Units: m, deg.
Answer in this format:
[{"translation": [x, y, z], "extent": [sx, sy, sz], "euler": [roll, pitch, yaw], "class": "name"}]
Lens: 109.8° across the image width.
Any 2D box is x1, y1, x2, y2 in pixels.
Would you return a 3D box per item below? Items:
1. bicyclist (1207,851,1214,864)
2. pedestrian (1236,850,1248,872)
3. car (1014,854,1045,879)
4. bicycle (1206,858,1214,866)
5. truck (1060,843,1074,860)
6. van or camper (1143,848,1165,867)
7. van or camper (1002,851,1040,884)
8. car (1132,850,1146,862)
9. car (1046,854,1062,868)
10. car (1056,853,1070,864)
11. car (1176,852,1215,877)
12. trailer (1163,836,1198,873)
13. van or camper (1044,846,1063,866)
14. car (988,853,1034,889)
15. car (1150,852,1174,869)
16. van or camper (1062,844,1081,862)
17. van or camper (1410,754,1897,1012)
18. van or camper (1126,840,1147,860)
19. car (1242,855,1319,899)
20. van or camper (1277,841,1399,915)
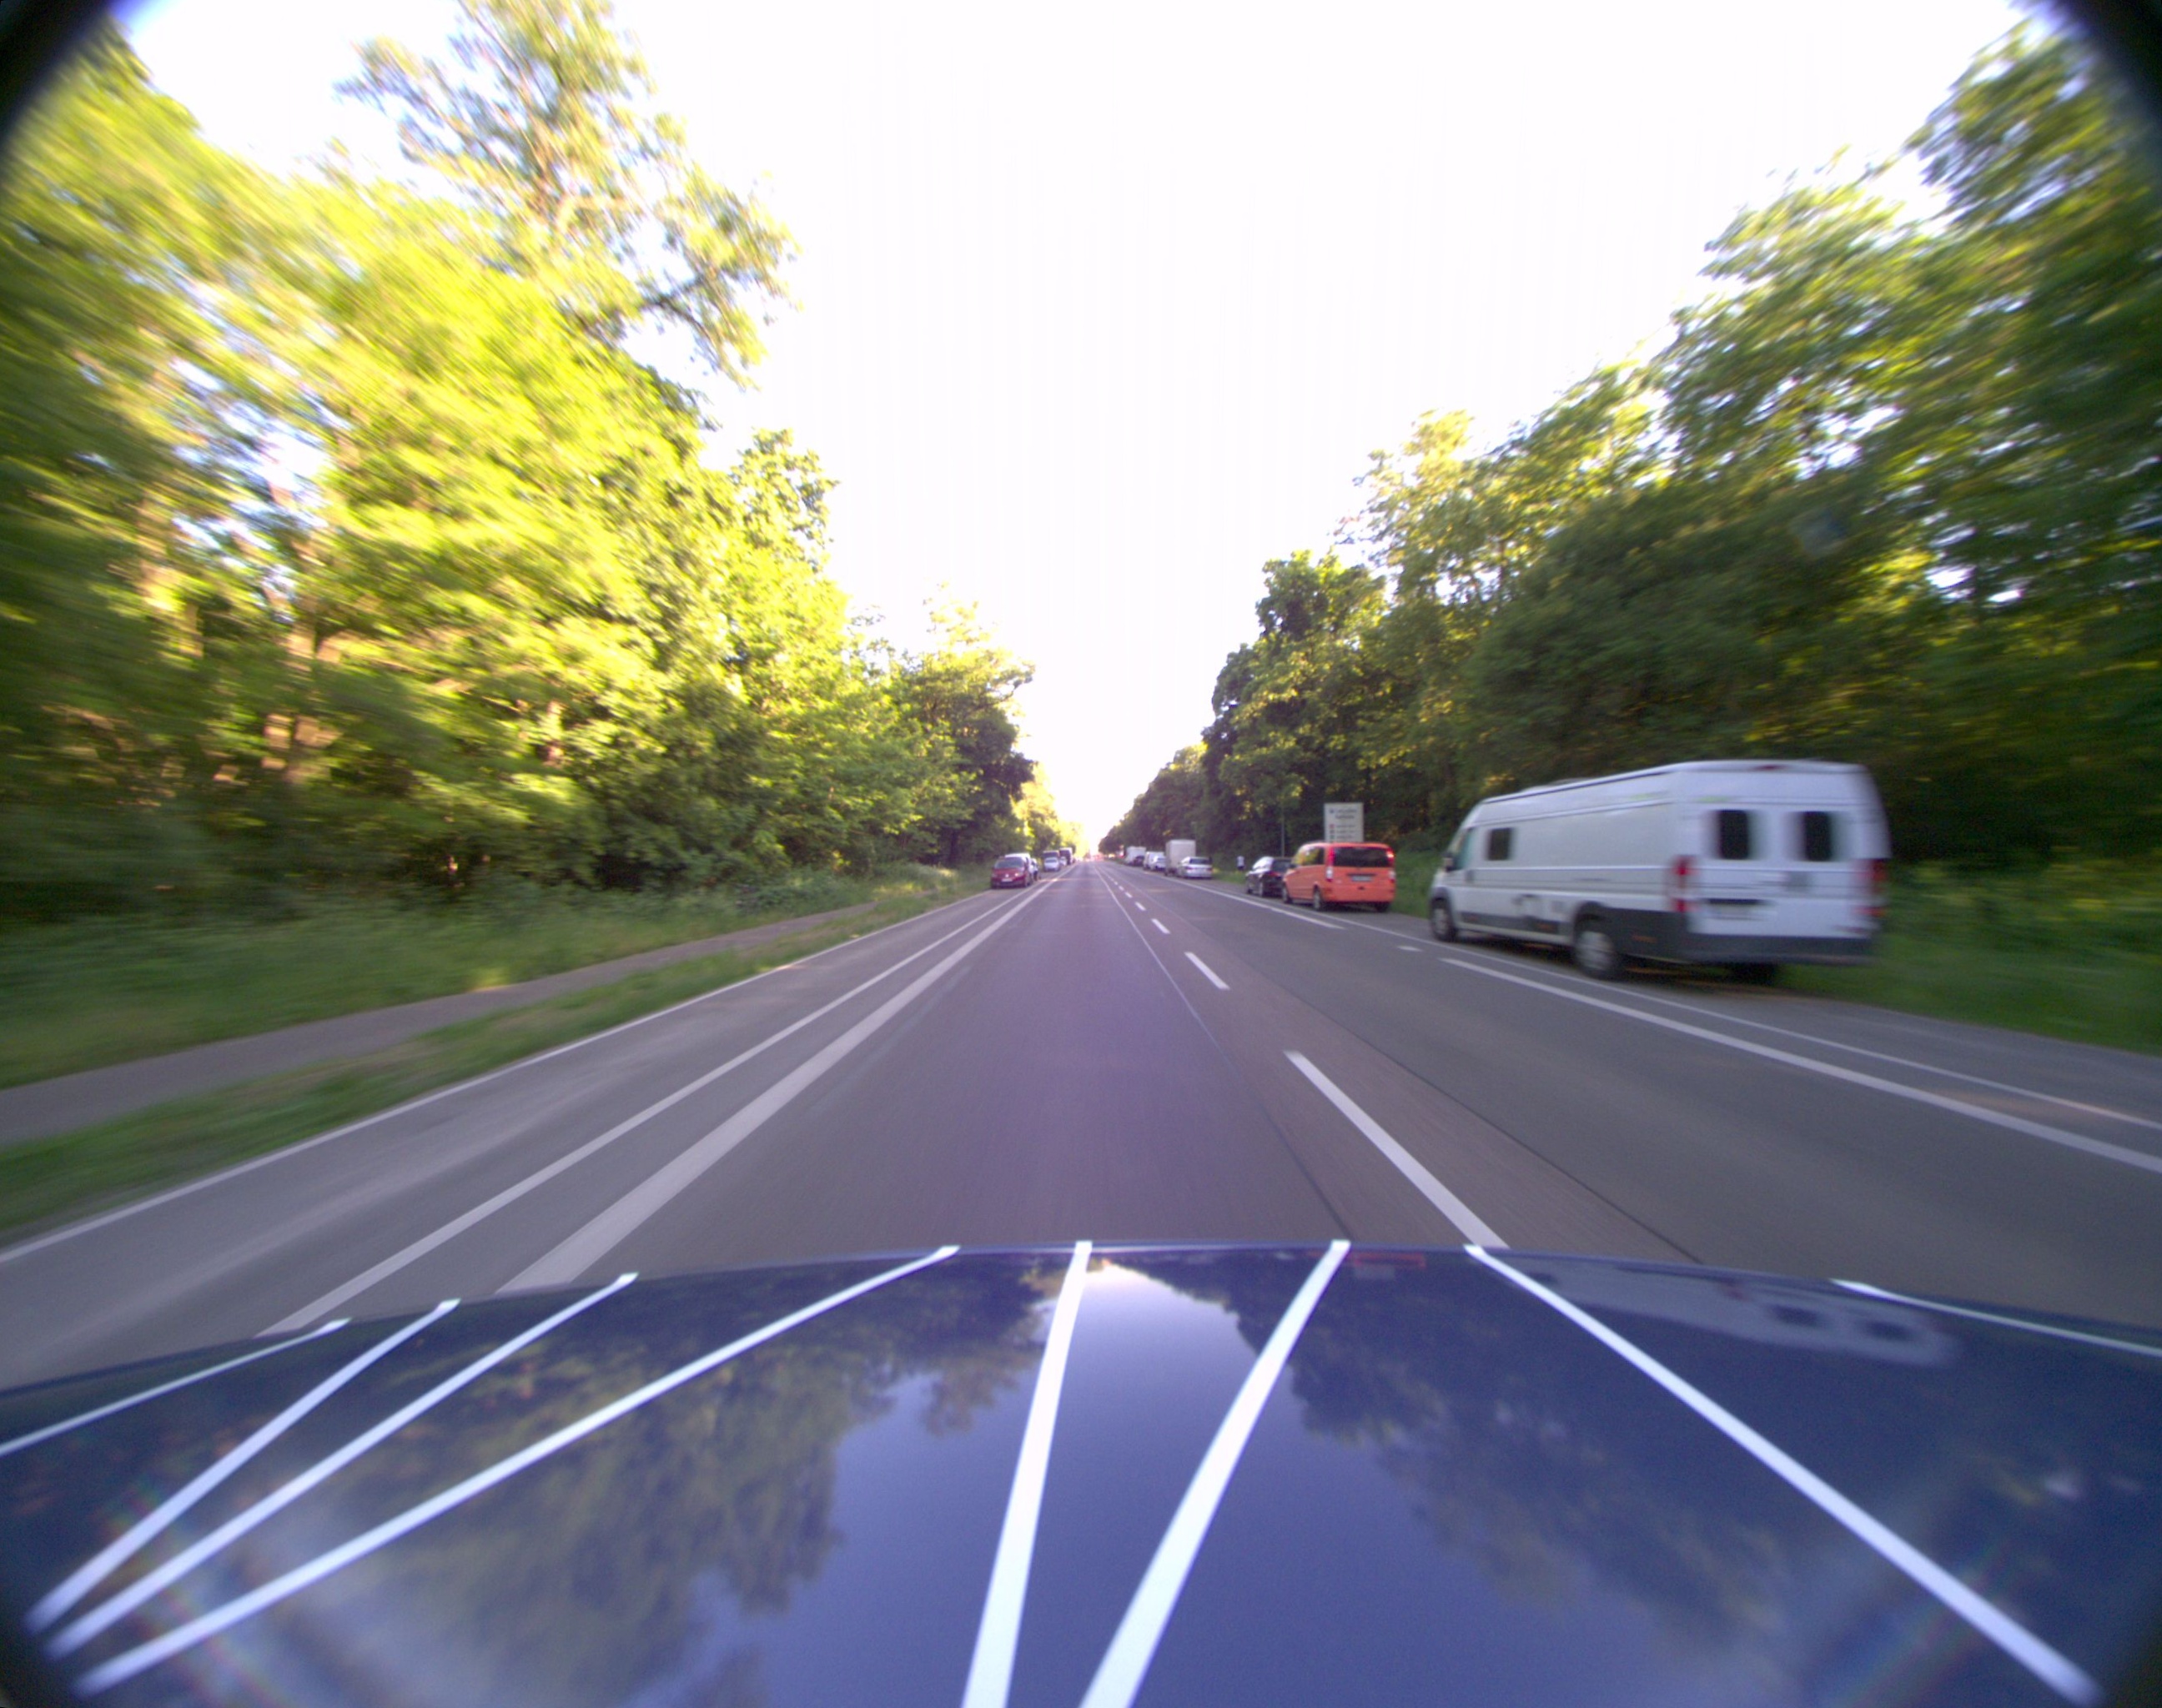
[{"translation": [11.717, 0.313, 68.892], "extent": [0.488, 1.228, 0.974], "euler": [-2, 1, 1], "class": "bicyclist"}, {"translation": [11.808, 0.508, 55.763], "extent": [0.716, 1.558, 0.700], "euler": [-2, 1, 1], "class": "pedestrian"}, {"translation": [-3.472, 0.837, 51.758], "extent": [1.694, 1.515, 4.149], "euler": [-3, 0, 1], "class": "car"}, {"translation": [11.724, 0.754, 69.022], "extent": [0.523, 0.708, 1.487], "euler": [-2, 0, 1], "class": "bicycle"}, {"translation": [-3.002, -0.545, 165.230], "extent": [2.840, 3.477, 8.577], "euler": [-1, 0, 0], "class": "truck"}, {"translation": [7.423, 0.315, 77.715], "extent": [1.840, 1.900, 4.855], "euler": [0, 0, 0], "class": "van or camper"}, {"translation": [-3.539, 0.745, 45.402], "extent": [1.956, 1.805, 4.379], "euler": [-2, 0, -2], "class": "van or camper"}, {"translation": [7.919, 0.258, 103.320], "extent": [1.650, 1.622, 4.273], "euler": [1, 0, 1], "class": "car"}, {"translation": [-2.965, 0.748, 84.338], "extent": [1.752, 1.506, 3.999], "euler": [-2, 0, -1], "class": "car"}, {"translation": [-2.644, 0.630, 112.522], "extent": [1.716, 1.536, 4.022], "euler": [-3, 0, 2], "class": "car"}, {"translation": [7.269, 0.643, 48.686], "extent": [1.802, 1.445, 4.625], "euler": [1, 0, 0], "class": "car"}, {"translation": [7.180, 0.016, 55.452], "extent": [1.998, 2.582, 4.415], "euler": [1, 0, 1], "class": "trailer"}, {"translation": [-3.268, 0.183, 91.528], "extent": [2.040, 2.298, 6.040], "euler": [-1, 0, 0], "class": "van or camper"}, {"translation": [-3.577, 0.836, 39.465], "extent": [1.839, 1.651, 4.338], "euler": [-3, 0, 1], "class": "car"}, {"translation": [7.511, 0.587, 70.558], "extent": [1.779, 1.531, 4.524], "euler": [0, 0, 0], "class": "car"}, {"translation": [-1.709, -0.130, 130.420], "extent": [2.449, 2.783, 6.552], "euler": [-1, -1, -8], "class": "van or camper"}, {"translation": [7.156, 0.282, 10.884], "extent": [2.126, 2.557, 6.542], "euler": [-1, 0, 1], "class": "van or camper"}, {"translation": [8.189, -0.583, 112.401], "extent": [2.321, 2.952, 7.109], "euler": [1, 0, -2], "class": "van or camper"}, {"translation": [7.164, 0.776, 27.769], "extent": [1.736, 1.469, 4.324], "euler": [0, 0, 1], "class": "car"}, {"translation": [7.178, 0.603, 21.808], "extent": [1.927, 1.856, 4.863], "euler": [0, 0, 1], "class": "van or camper"}]
